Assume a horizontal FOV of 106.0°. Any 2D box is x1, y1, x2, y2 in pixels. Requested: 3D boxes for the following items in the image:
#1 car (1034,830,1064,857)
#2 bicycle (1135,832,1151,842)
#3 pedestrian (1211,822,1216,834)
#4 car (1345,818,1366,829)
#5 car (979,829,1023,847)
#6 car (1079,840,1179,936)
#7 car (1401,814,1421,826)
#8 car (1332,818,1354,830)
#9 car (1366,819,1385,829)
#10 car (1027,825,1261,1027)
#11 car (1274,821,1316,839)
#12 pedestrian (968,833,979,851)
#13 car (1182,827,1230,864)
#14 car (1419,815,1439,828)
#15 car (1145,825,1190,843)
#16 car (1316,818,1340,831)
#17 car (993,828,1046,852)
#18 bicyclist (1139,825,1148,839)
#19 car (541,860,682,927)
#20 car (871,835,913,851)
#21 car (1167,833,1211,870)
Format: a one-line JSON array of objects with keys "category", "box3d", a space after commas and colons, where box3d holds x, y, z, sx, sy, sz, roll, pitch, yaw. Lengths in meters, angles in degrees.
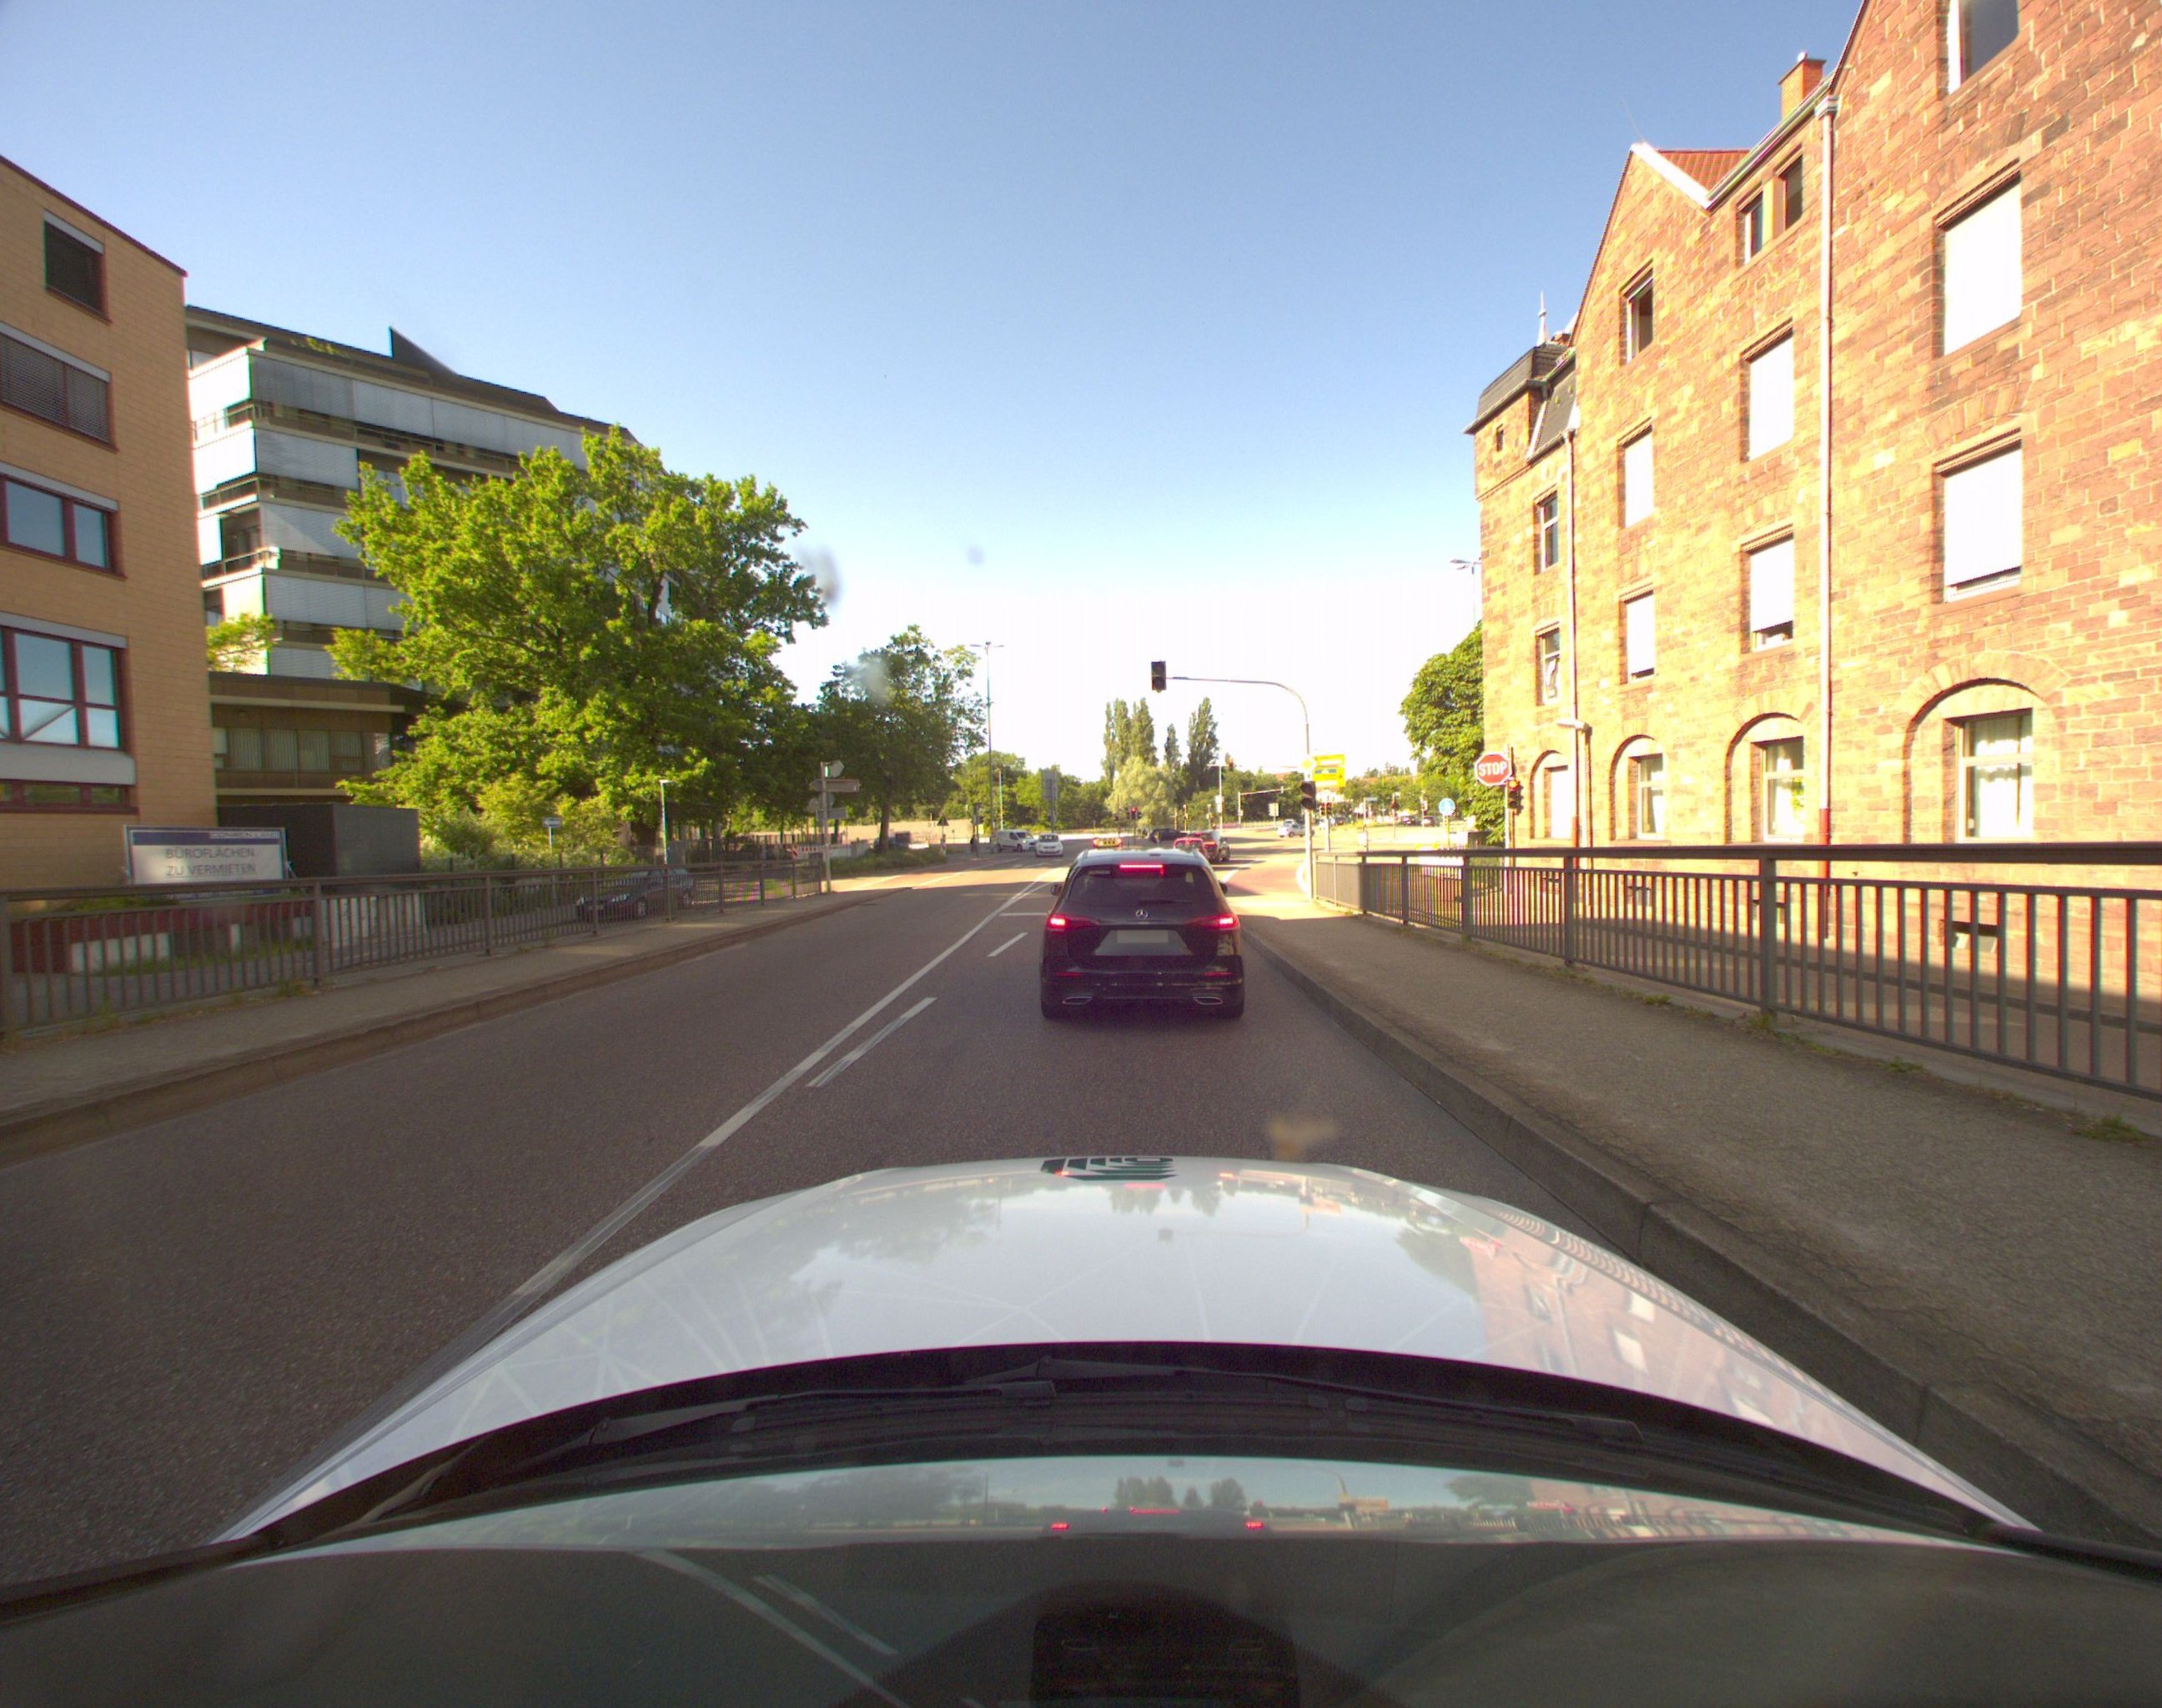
[{"category": "car", "box3d": [-2.119, -0.749, 55.410, 1.772, 1.635, 4.001, -3, 3, 1]}, {"category": "bicycle", "box3d": [6.916, -1.884, 90.296, 2.002, 1.050, 0.521, -4, 2, -44]}, {"category": "pedestrian", "box3d": [18.789, -3.678, 115.752, 0.446, 1.585, 0.504, -2, 2, 42]}, {"category": "car", "box3d": [41.802, -4.594, 123.973, 1.860, 1.578, 4.026, -1, 2, 37]}, {"category": "car", "box3d": [-7.918, -1.599, 80.616, 3.964, 1.629, 1.896, -2, 1, 8]}, {"category": "car", "box3d": [0.921, 0.549, 15.510, 1.633, 1.529, 3.478, -2, 1, 4]}, {"category": "car", "box3d": [47.639, -4.832, 117.571, 1.866, 1.547, 4.025, -1, 0, 33]}, {"category": "car", "box3d": [37.935, -4.366, 117.906, 1.860, 1.578, 4.026, -1, 2, 37]}, {"category": "car", "box3d": [50.075, -5.074, 138.513, 1.860, 1.578, 4.026, -1, 2, 37]}, {"category": "car", "box3d": [0.559, 0.553, 8.541, 1.871, 1.613, 4.001, 0, 1, 1]}, {"category": "car", "box3d": [22.049, -2.472, 83.869, 4.009, 1.629, 1.874, -2, 1, -27]}, {"category": "pedestrian", "box3d": [-8.803, -0.994, 66.817, 0.700, 1.525, 0.746, -1, 1, 12]}, {"category": "car", "box3d": [6.753, -0.501, 43.595, 1.707, 1.812, 4.319, -2, 1, 19]}, {"category": "car", "box3d": [46.508, -4.317, 108.874, 1.722, 1.497, 4.026, -2, 0, 34]}, {"category": "car", "box3d": [8.471, -1.987, 79.820, 3.983, 1.629, 1.886, -2, 1, -7]}, {"category": "car", "box3d": [34.271, -4.103, 112.810, 1.860, 1.578, 4.026, -1, 2, 37]}, {"category": "car", "box3d": [-5.083, -1.162, 66.833, 1.934, 1.794, 4.842, -4, 2, -38]}, {"category": "bicyclist", "box3d": [6.898, -2.449, 90.273, 0.812, 1.551, 0.521, -4, 2, -44]}, {"category": "car", "box3d": [-14.177, 1.122, 24.901, 1.845, 1.692, 4.002, -2, 2, 1]}, {"category": "car", "box3d": [-20.479, -1.167, 88.074, 4.354, 1.629, 1.903, -1, 1, 33]}, {"category": "car", "box3d": [5.057, -0.157, 37.953, 1.710, 1.521, 3.499, -1, 3, 12]}]
